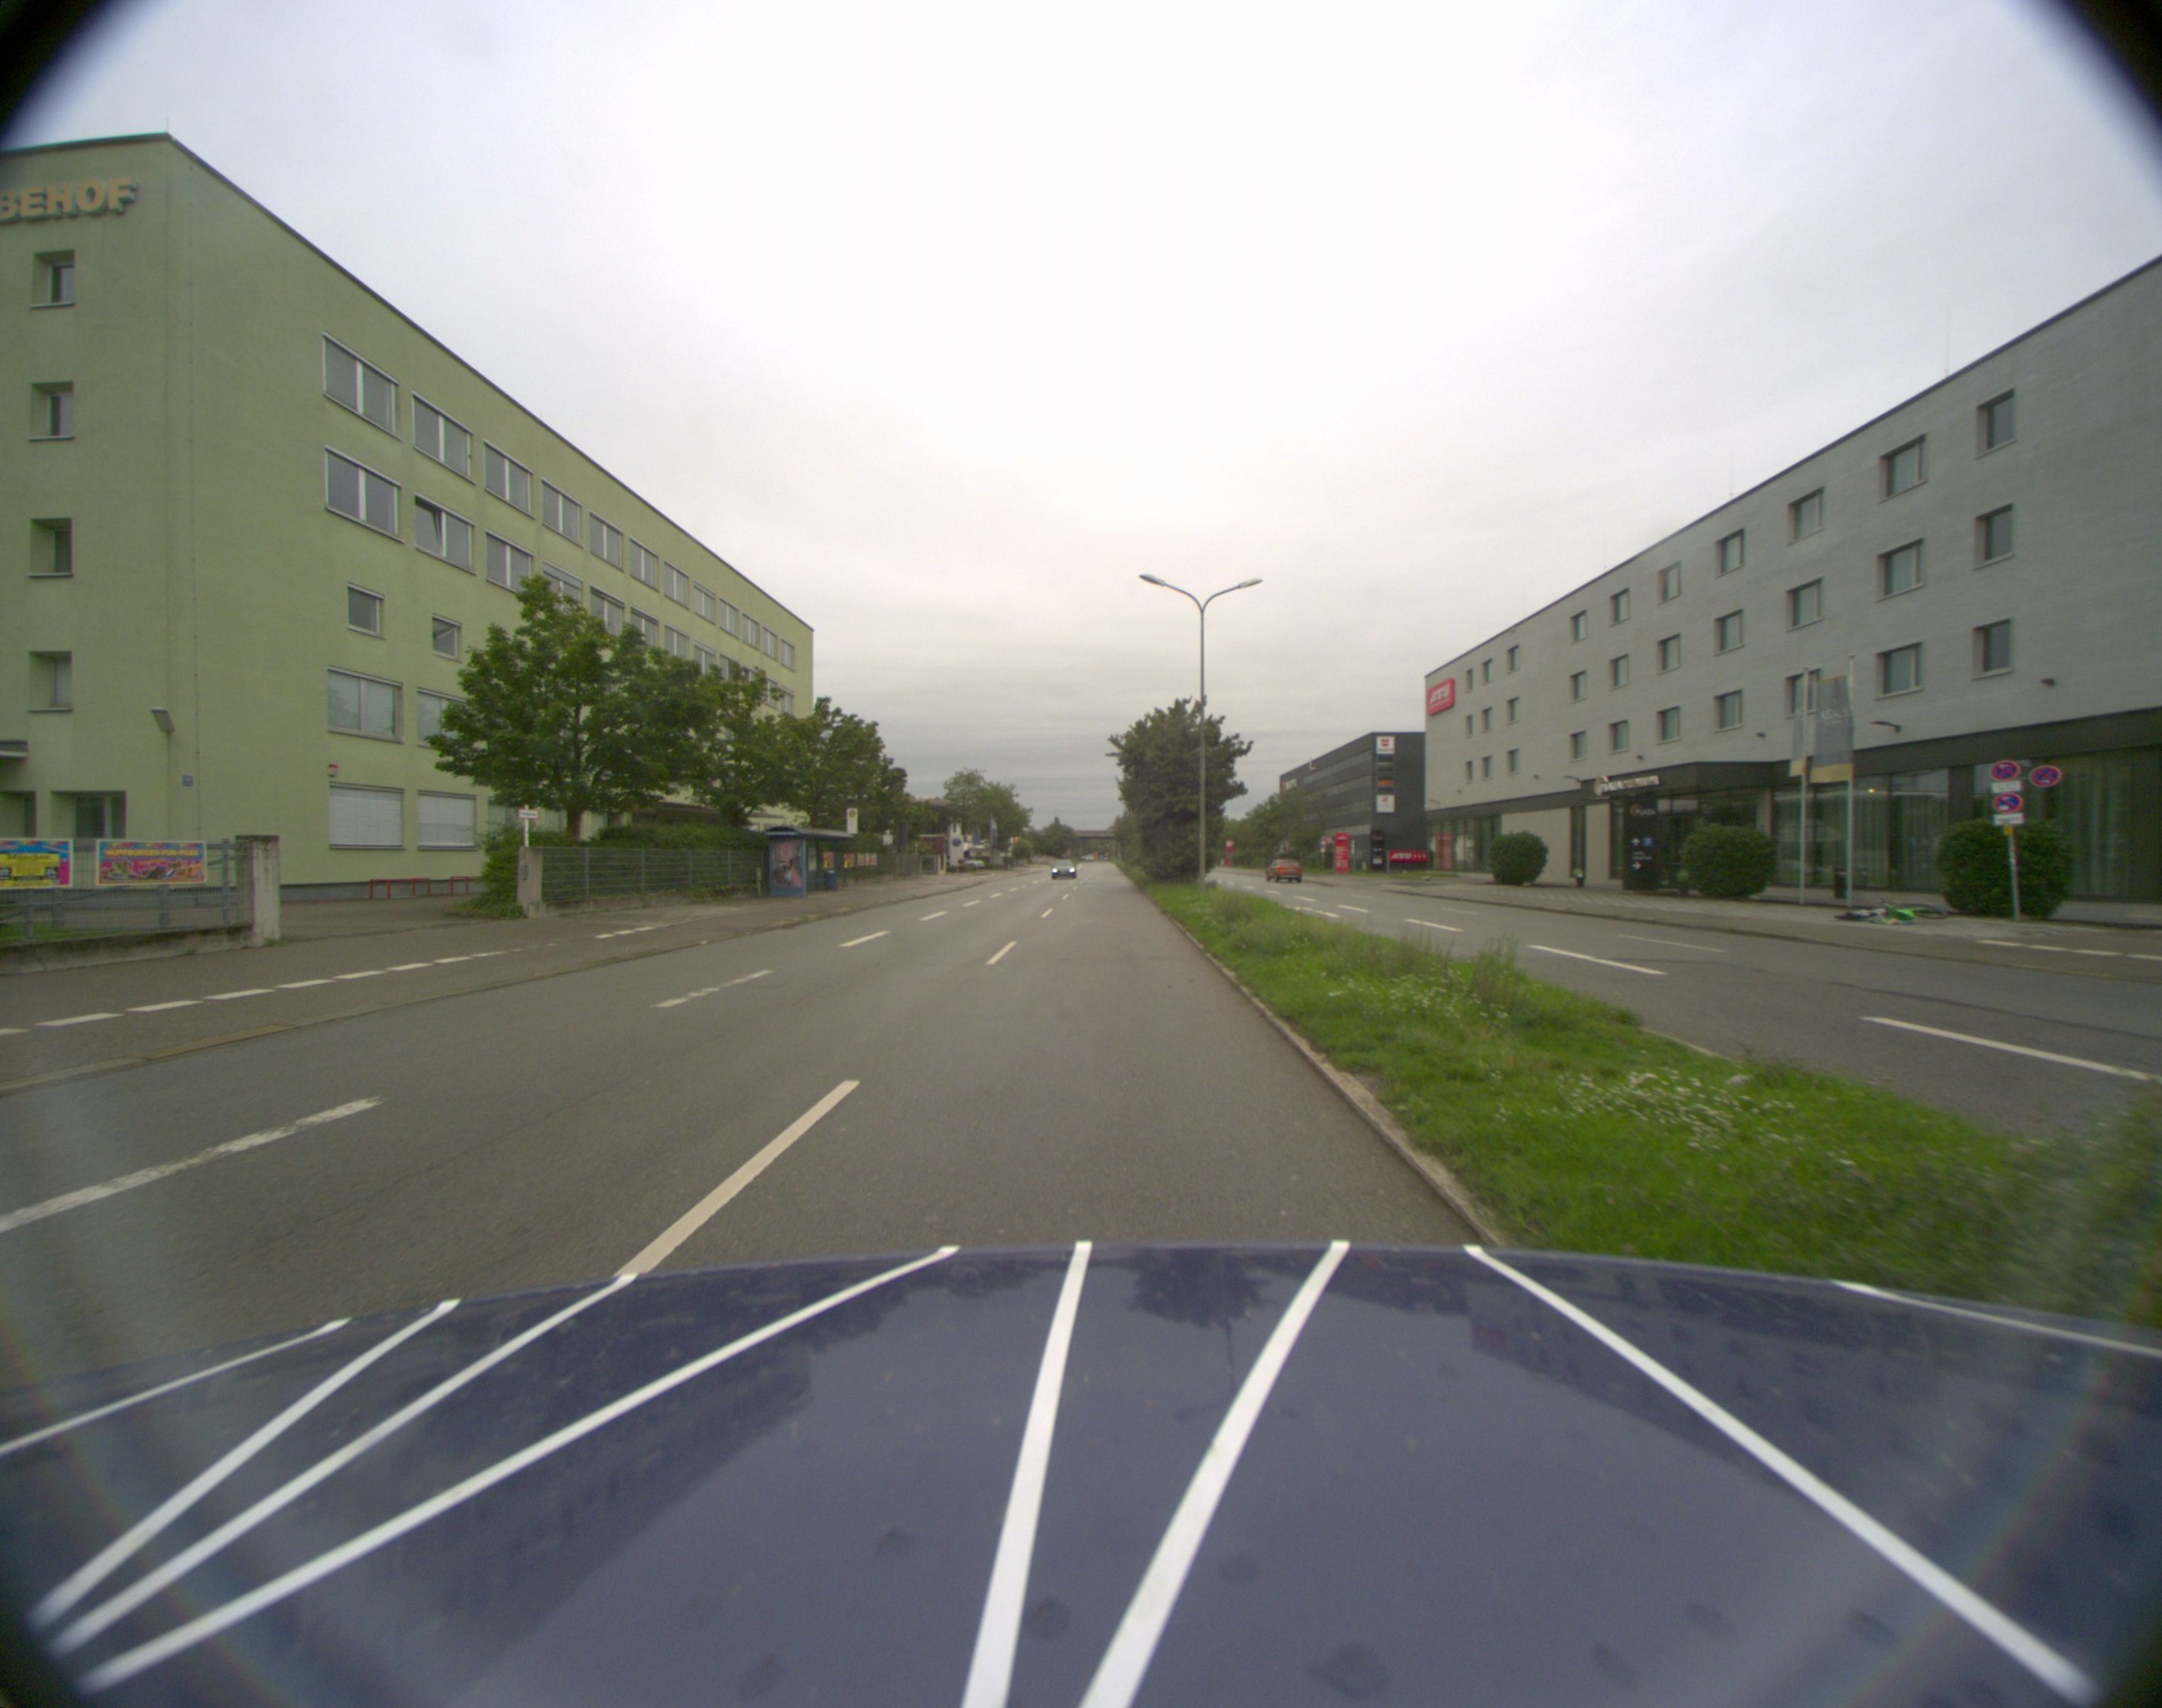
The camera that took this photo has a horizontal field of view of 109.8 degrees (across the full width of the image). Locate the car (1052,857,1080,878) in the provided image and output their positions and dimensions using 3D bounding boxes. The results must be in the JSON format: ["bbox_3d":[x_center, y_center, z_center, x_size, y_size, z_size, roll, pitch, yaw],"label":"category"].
[{"bbox_3d":[-1.166,1.031,60.135,1.916,1.498,4.440,-1,0,3],"label":"car"}]

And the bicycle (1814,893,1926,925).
[{"bbox_3d":[17.658,1.225,17.067,0.721,0.545,1.732,-4,0,2],"label":"bicycle"}]

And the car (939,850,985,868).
[{"bbox_3d":[-13.199,0.521,84.255,4.651,1.832,1.798,-2,1,-21],"label":"car"}]

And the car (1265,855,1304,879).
[{"bbox_3d":[14.375,0.881,53.832,1.740,1.539,4.304,1,0,2],"label":"car"}]

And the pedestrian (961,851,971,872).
[{"bbox_3d":[-10.054,0.659,66.498,0.683,1.811,0.688,-1,1,1],"label":"pedestrian"}]

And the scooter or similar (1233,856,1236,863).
[{"bbox_3d":[23.122,0.801,114.510,0.305,0.998,1.220,-1,1,0],"label":"scooter or similar"}]
